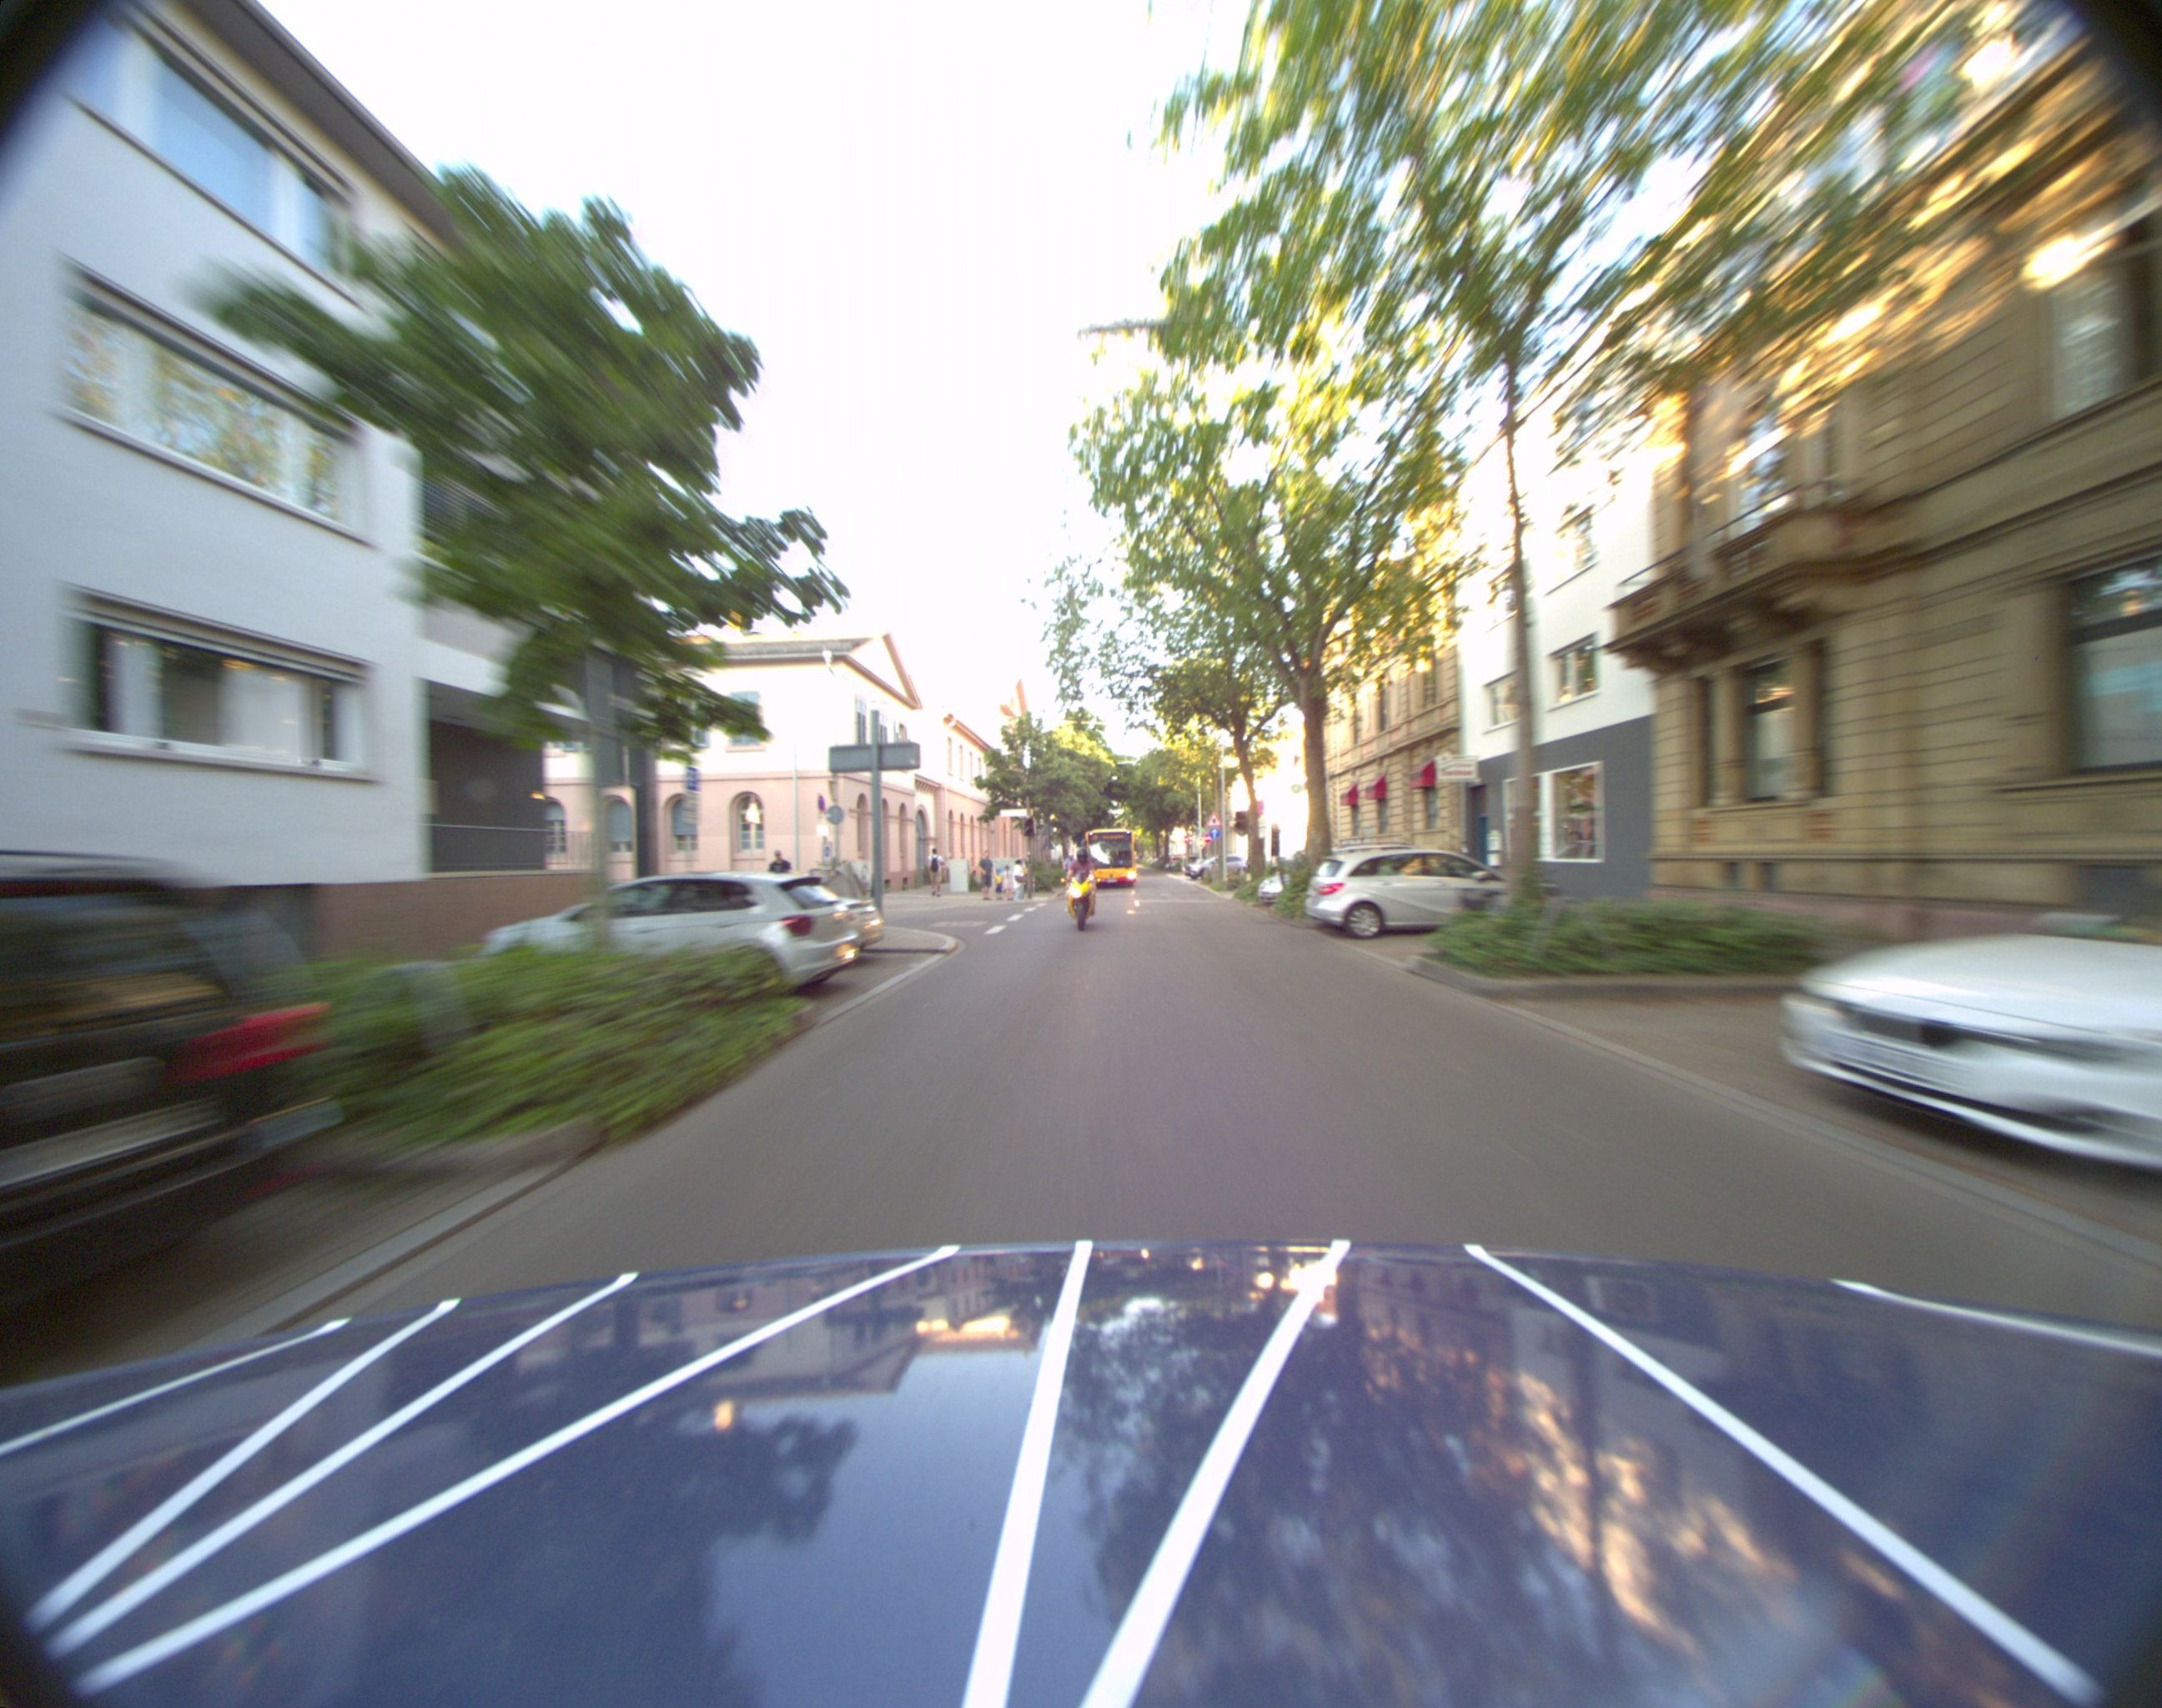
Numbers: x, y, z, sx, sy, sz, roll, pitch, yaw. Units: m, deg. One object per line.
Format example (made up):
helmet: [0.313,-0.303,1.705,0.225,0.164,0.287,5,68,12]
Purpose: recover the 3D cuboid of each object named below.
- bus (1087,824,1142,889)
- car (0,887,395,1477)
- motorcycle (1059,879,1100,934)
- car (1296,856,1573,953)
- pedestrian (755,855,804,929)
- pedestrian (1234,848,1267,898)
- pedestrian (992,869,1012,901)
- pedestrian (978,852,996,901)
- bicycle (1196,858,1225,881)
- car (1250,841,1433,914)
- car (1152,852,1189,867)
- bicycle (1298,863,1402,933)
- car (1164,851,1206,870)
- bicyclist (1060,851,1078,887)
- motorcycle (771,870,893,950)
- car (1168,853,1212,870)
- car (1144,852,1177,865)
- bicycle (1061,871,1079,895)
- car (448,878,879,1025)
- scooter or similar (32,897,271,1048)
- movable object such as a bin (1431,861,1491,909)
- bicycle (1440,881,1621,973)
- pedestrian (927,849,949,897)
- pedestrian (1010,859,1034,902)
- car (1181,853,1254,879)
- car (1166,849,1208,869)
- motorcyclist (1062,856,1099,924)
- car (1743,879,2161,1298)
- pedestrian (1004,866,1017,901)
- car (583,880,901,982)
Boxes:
bus: [2.017,0.102,44.461,2.667,3.176,11.901,-3,0,3]
car: [-5.095,0.982,2.427,4.118,1.608,1.961,-1,0,4]
motorcycle: [-0.009,1.079,16.101,0.737,1.053,1.965,0,0,3]
car: [6.242,0.880,13.848,4.179,1.548,1.827,-2,0,6]
pedestrian: [-7.480,0.914,18.874,0.698,1.785,1.066,-1,0,4]
pedestrian: [6.154,0.680,27.642,0.833,1.767,0.764,-3,1,-36]
pedestrian: [-2.948,1.149,28.394,0.491,1.138,0.547,1,1,41]
pedestrian: [-3.463,0.812,28.007,0.544,1.764,0.576,1,1,5]
bicycle: [7.283,0.867,42.733,0.805,1.217,2.422,-5,-3,28]
car: [7.200,0.627,21.334,4.435,1.712,1.891,-3,0,1]
car: [10.589,0.649,89.867,3.999,1.699,1.999,-1,0,-5]
bicycle: [5.455,0.880,15.464,1.799,1.319,0.774,-2,0,-2]
car: [10.603,0.645,77.550,3.999,1.801,1.799,-1,0,-5]
bicyclist: [-0.526,0.648,33.404,0.637,1.552,0.819,-3,0,2]
motorcycle: [-4.625,1.008,14.167,1.910,1.384,1.001,0,1,17]
car: [10.732,0.722,74.831,3.999,1.660,1.799,-1,0,-5]
car: [10.560,0.596,100.935,3.999,1.699,1.844,-1,0,-5]
bicycle: [-0.491,1.274,33.420,0.637,0.977,1.982,-3,0,2]
car: [-4.614,1.056,8.789,3.996,1.429,1.794,-1,0,4]
scooter or similar: [-8.854,1.070,7.319,0.346,1.232,1.422,-1,0,13]
movable object such as a bin: [8.808,0.697,17.683,0.776,1.055,1.317,-1,0,3]
bicycle: [5.444,0.882,9.275,1.798,1.003,0.598,-2,1,4]
pedestrian: [-5.552,0.730,29.530,0.699,1.844,1.049,0,0,-3]
pedestrian: [-2.087,0.938,26.906,0.600,1.502,0.719,1,1,-25]
car: [9.087,0.781,50.554,4.363,1.561,1.945,-1,1,-17]
car: [11.162,0.525,79.999,3.999,1.940,1.999,-1,0,-5]
motorcyclist: [-0.005,0.744,16.125,0.737,1.404,0.727,0,0,3]
car: [6.219,0.847,3.491,4.522,1.382,1.917,-2,1,5]
pedestrian: [-2.577,1.073,27.782,0.451,1.254,0.490,1,1,-3]
car: [-4.973,1.113,11.467,3.995,1.325,1.795,-1,0,7]
